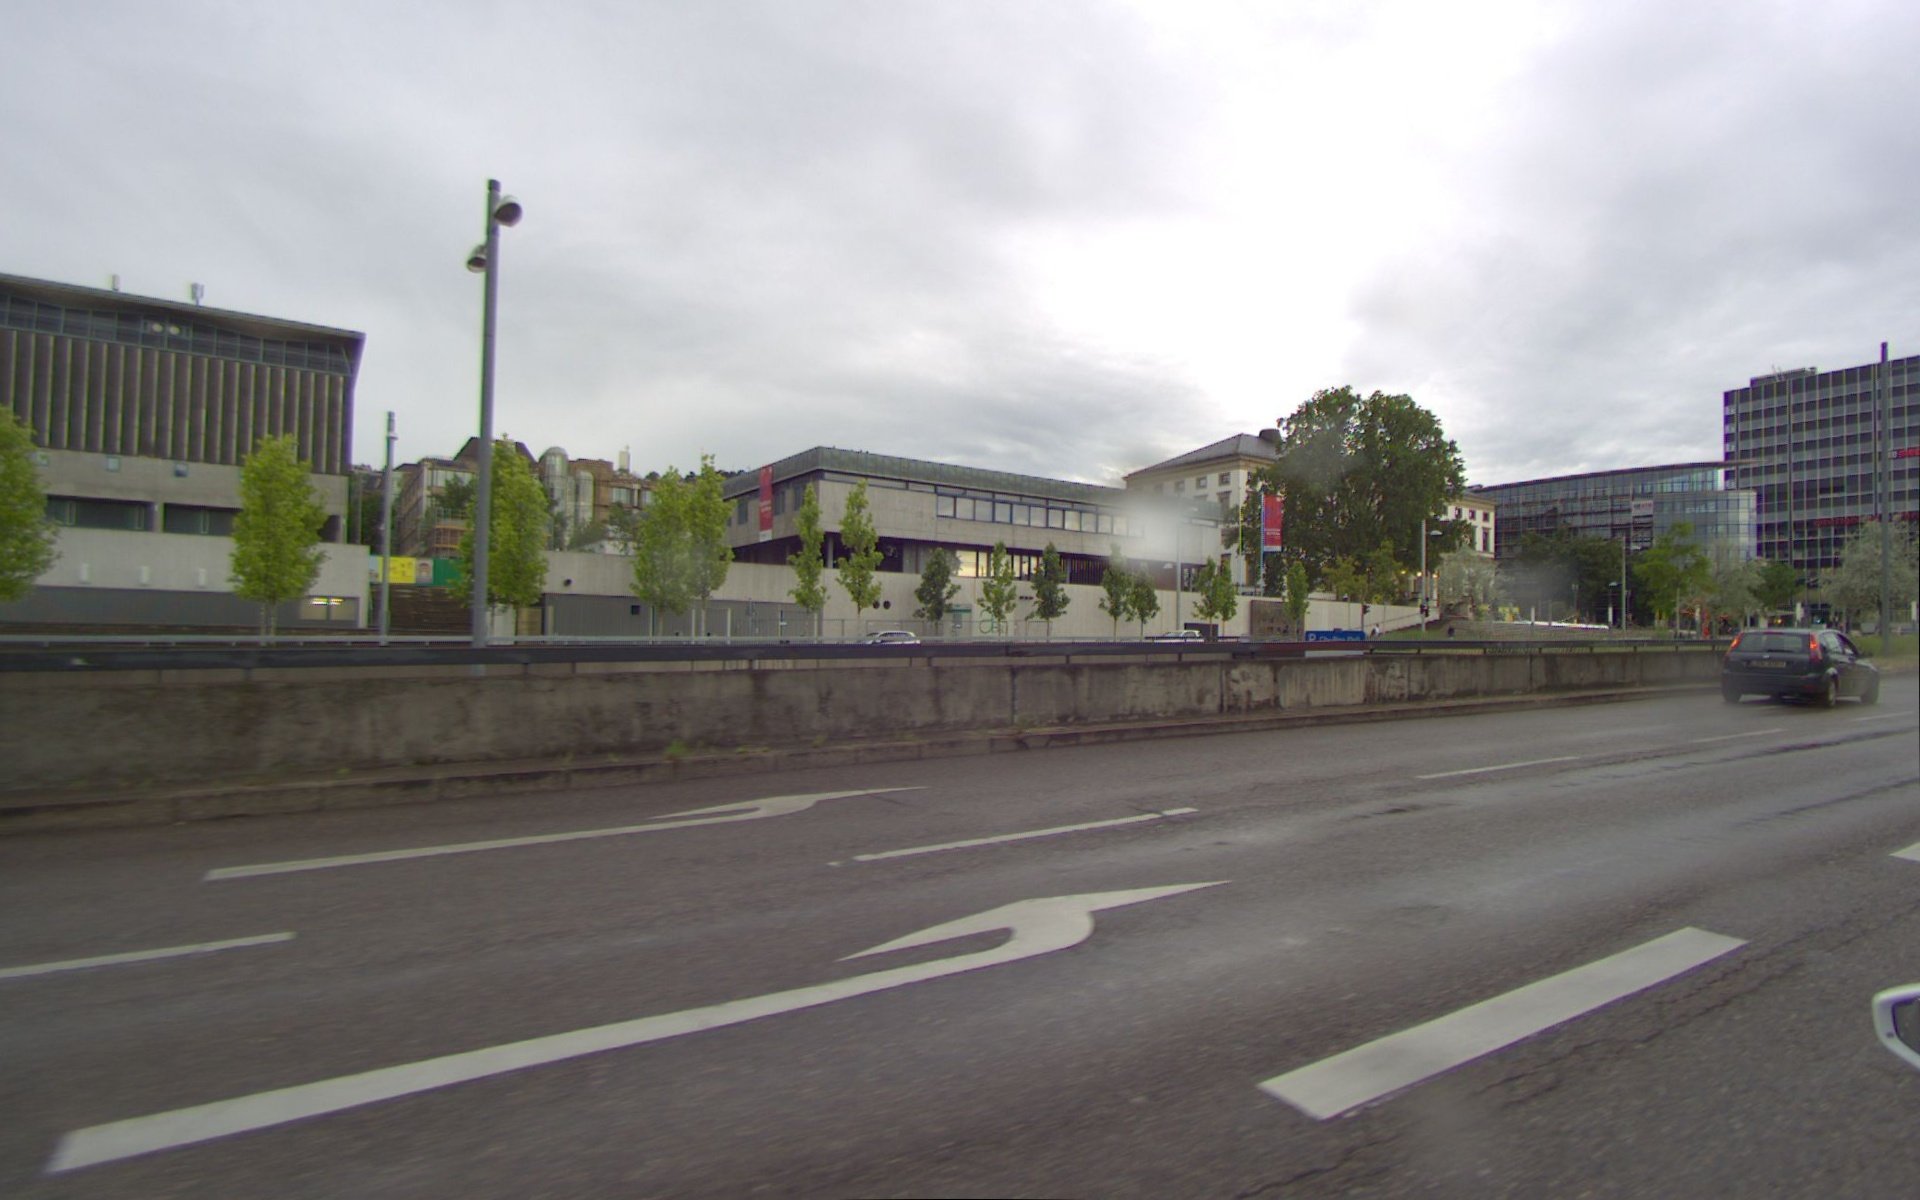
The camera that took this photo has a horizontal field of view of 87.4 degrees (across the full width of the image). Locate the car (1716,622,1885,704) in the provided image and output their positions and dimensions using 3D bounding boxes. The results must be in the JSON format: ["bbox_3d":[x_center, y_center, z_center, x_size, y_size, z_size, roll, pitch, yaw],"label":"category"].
[{"bbox_3d":[16.312,1.198,19.443,3.862,1.434,1.532,3,-2,-35],"label":"car"}]

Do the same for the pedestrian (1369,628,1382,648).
[{"bbox_3d":[30.074,2.755,72.704,0.622,1.441,0.492,2,-1,-16],"label":"pedestrian"}]

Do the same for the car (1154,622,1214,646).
[{"bbox_3d":[11.907,1.805,53.268,2.990,1.129,1.431,3,-2,-34],"label":"car"}]

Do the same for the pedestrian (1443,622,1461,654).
[{"bbox_3d":[33.239,2.559,67.851,0.717,2.120,0.764,-4,2,-28],"label":"pedestrian"}]

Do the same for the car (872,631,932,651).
[{"bbox_3d":[-2.488,1.759,43.090,2.530,0.755,0.813,3,-2,-37],"label":"car"}]

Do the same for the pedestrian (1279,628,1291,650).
[{"bbox_3d":[21.193,2.562,65.467,0.570,1.401,0.465,2,-1,-30],"label":"pedestrian"}]
